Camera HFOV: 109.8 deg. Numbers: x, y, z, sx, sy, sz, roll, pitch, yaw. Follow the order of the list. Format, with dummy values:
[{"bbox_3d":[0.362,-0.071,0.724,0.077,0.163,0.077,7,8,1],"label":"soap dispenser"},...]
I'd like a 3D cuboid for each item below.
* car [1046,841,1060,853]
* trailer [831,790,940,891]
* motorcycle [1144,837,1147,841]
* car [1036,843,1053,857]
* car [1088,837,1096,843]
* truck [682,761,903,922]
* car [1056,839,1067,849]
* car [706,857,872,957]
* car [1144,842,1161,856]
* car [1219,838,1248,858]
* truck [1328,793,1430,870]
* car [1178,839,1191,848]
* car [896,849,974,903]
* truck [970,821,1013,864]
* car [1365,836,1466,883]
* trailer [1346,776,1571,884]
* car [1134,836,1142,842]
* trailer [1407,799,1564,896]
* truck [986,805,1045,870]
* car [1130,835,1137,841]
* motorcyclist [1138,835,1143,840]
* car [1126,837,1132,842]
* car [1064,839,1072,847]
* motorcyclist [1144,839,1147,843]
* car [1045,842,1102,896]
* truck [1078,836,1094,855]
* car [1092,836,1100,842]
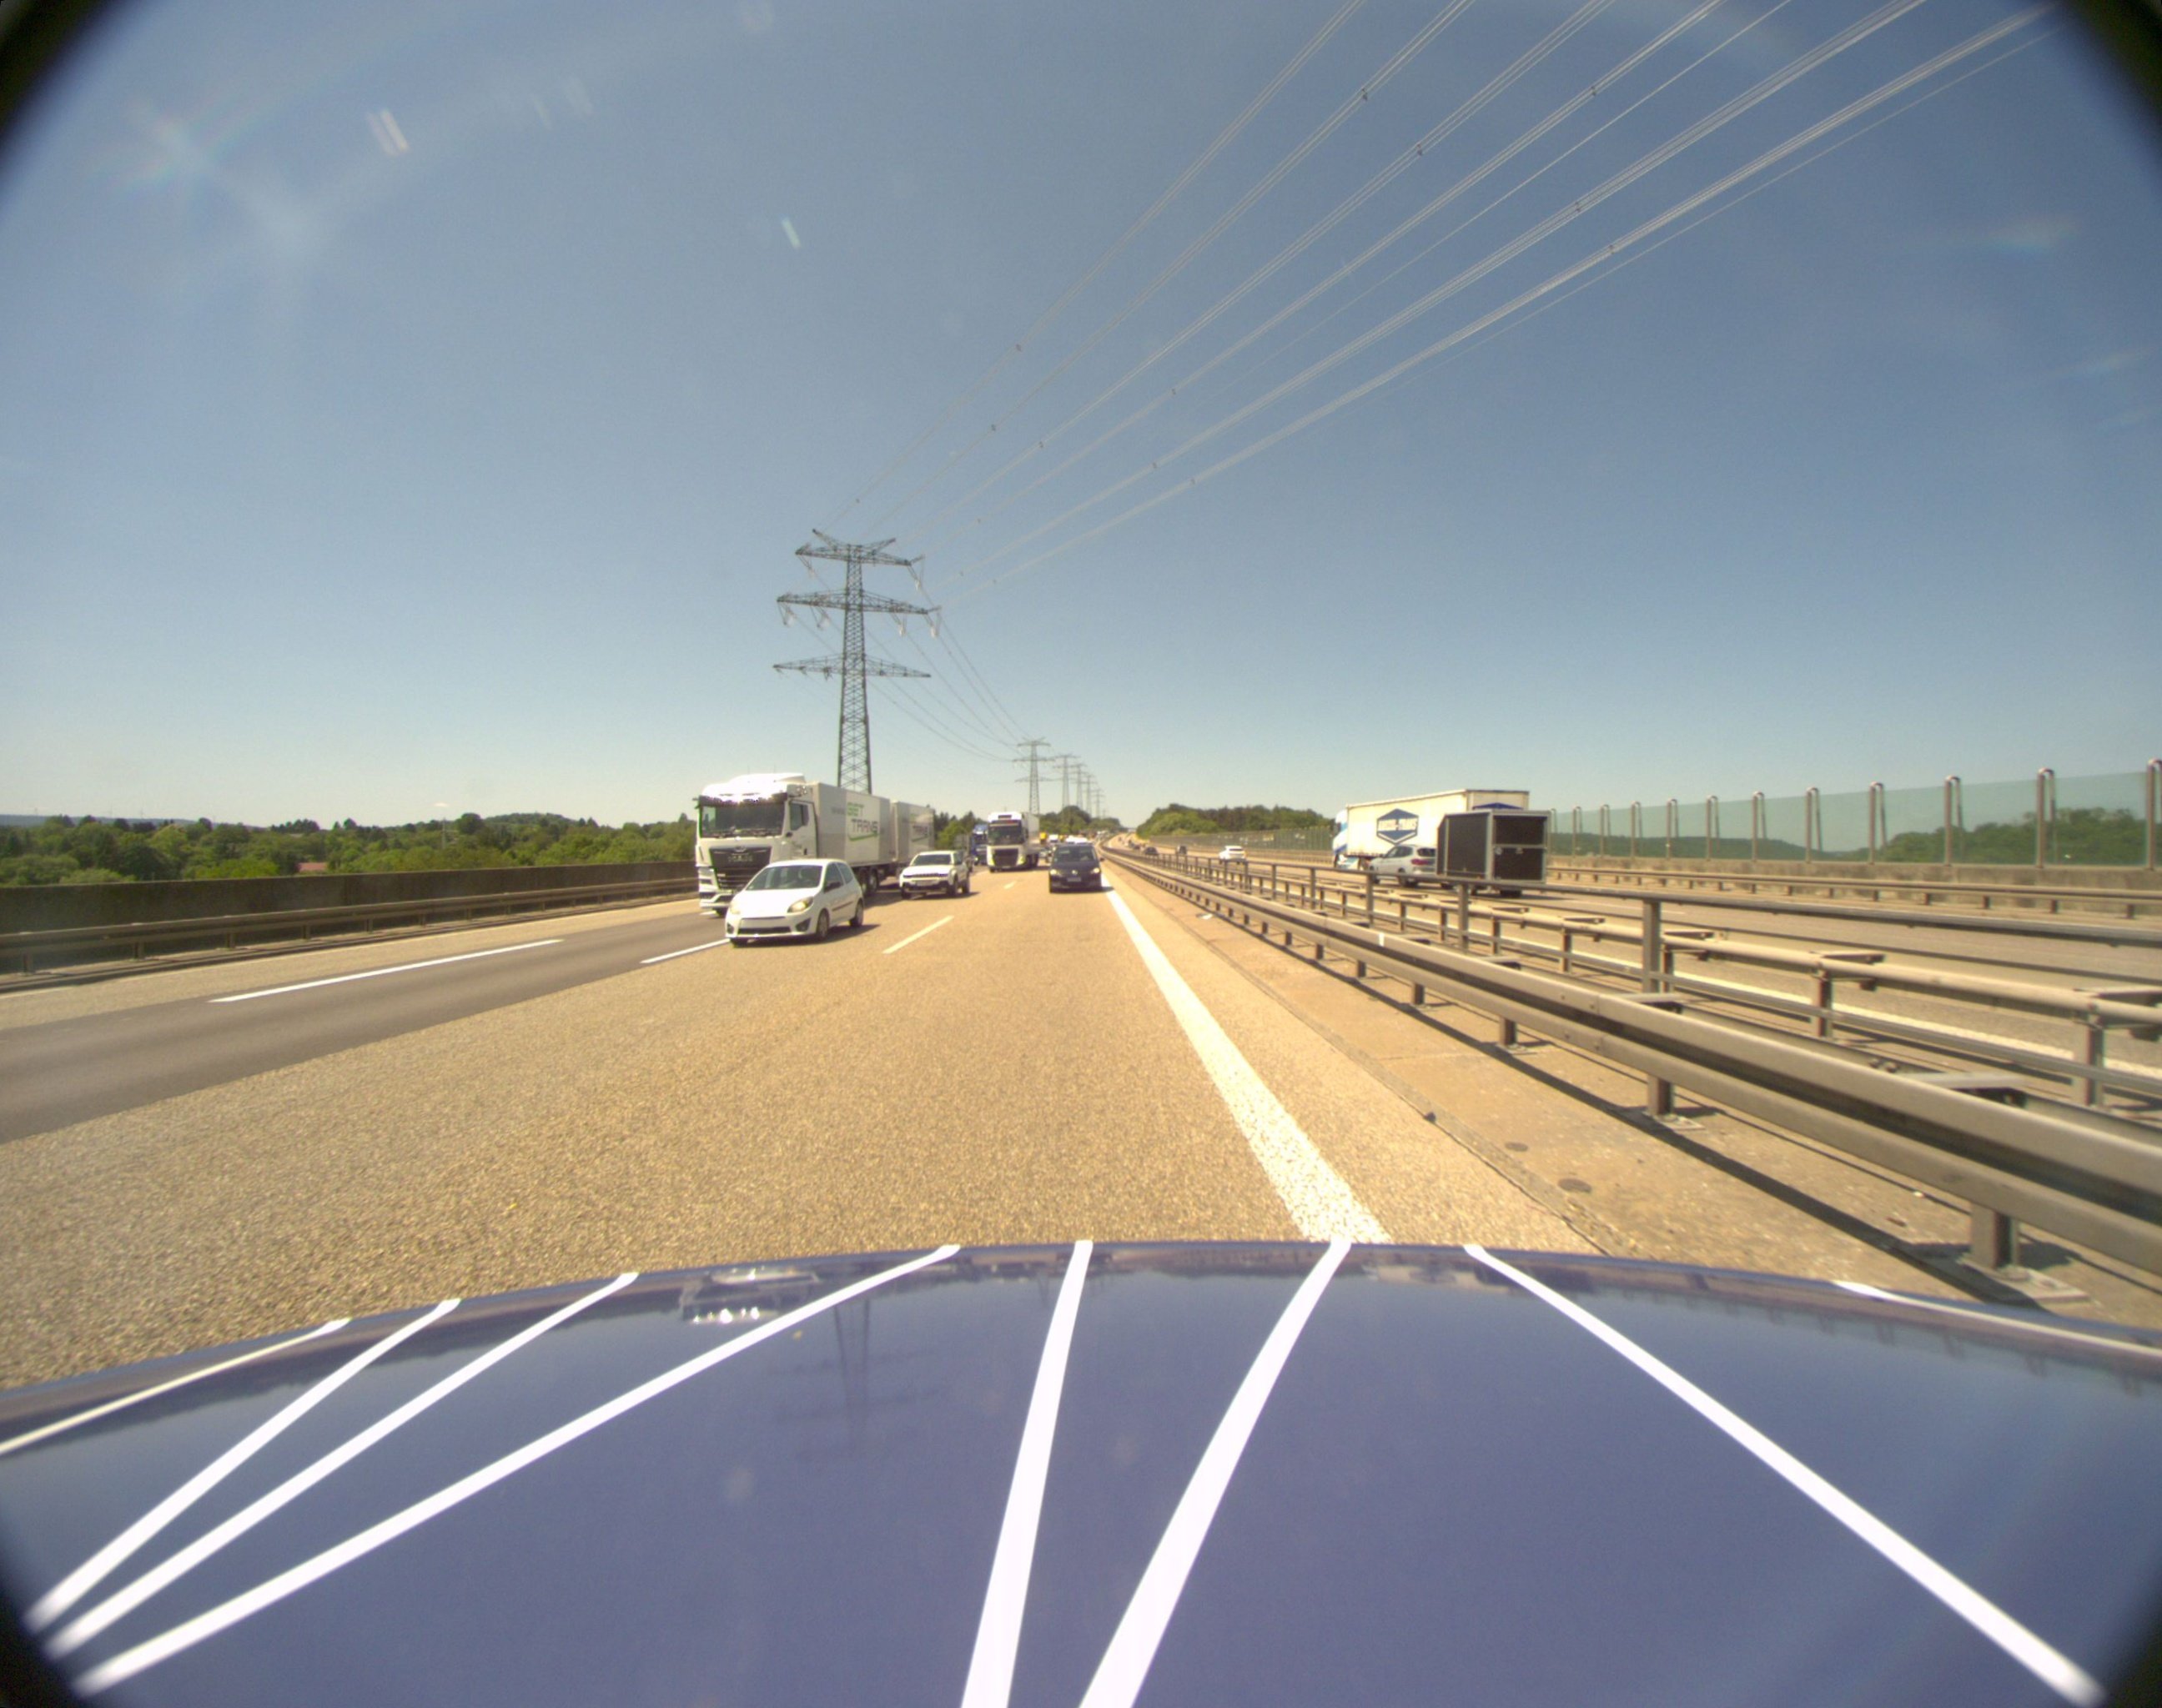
[{"bbox_3d":[-4.060,-1.077,110.707,1.821,1.569,3.998,-2,2,0],"label":"car"},{"bbox_3d":[-8.527,-0.639,34.235,2.752,3.919,7.771,-2,1,0],"label":"trailer"},{"bbox_3d":[19.878,-4.564,234.006,0.792,1.065,2.649,0,2,0],"label":"motorcycle"},{"bbox_3d":[-4.488,-0.548,94.662,1.821,1.569,3.998,-2,2,0],"label":"car"},{"bbox_3d":[2.760,-3.559,194.768,1.821,1.569,3.998,-2,2,0],"label":"car"},{"bbox_3d":[-8.532,-0.431,24.689,2.695,3.908,11.294,-2,1,0],"label":"truck"},{"bbox_3d":[-3.315,-1.758,131.045,1.821,1.569,3.998,-2,2,0],"label":"car"},{"bbox_3d":[-5.379,0.891,14.540,1.660,1.502,3.824,-3,1,-1],"label":"car"},{"bbox_3d":[9.291,-0.678,99.317,1.796,1.564,3.998,-2,2,0],"label":"car"},{"bbox_3d":[13.337,-0.555,66.666,1.753,1.686,4.383,0,2,0],"label":"car"},{"bbox_3d":[17.356,-1.293,44.670,4.016,4.204,4.857,0,1,0],"label":"truck"},{"bbox_3d":[17.365,-1.792,127.637,1.656,1.454,3.541,0,2,0],"label":"car"},{"bbox_3d":[-4.828,0.674,25.687,1.776,1.521,3.850,-2,2,1],"label":"car"},{"bbox_3d":[-8.880,-1.268,76.809,2.841,3.859,11.269,-3,2,0],"label":"truck"},{"bbox_3d":[12.764,0.153,29.320,1.875,1.616,4.627,-1,2,0],"label":"car"},{"bbox_3d":[17.304,-1.123,36.926,3.999,4.212,14.035,0,2,0],"label":"trailer"},{"bbox_3d":[14.126,-3.780,188.610,1.765,1.312,4.269,0,2,0],"label":"car"},{"bbox_3d":[12.743,-0.276,24.458,2.171,2.762,5.374,-1,2,0],"label":"trailer"},{"bbox_3d":[-4.526,-1.192,55.684,2.718,4.016,14.252,-2,1,1],"label":"truck"},{"bbox_3d":[15.569,-4.777,225.431,1.786,1.692,4.153,0,2,0],"label":"car"},{"bbox_3d":[20.399,-5.738,260.985,1.379,1.676,1.133,-3,2,-1],"label":"motorcyclist"},{"bbox_3d":[16.312,-4.933,258.954,1.735,1.481,4.123,-2,2,0],"label":"car"},{"bbox_3d":[-2.923,-2.457,172.430,1.821,1.569,3.998,-2,2,0],"label":"car"},{"bbox_3d":[19.904,-3.938,233.610,0.921,1.276,1.286,-2,2,0],"label":"motorcyclist"},{"bbox_3d":[-0.210,0.456,26.151,1.748,1.570,3.999,-2,2,1],"label":"car"},{"bbox_3d":[0.752,-1.372,117.206,2.310,2.790,5.108,-2,2,1],"label":"truck"},{"bbox_3d":[4.120,-4.046,208.356,1.821,1.569,3.998,-2,2,0],"label":"car"}]
